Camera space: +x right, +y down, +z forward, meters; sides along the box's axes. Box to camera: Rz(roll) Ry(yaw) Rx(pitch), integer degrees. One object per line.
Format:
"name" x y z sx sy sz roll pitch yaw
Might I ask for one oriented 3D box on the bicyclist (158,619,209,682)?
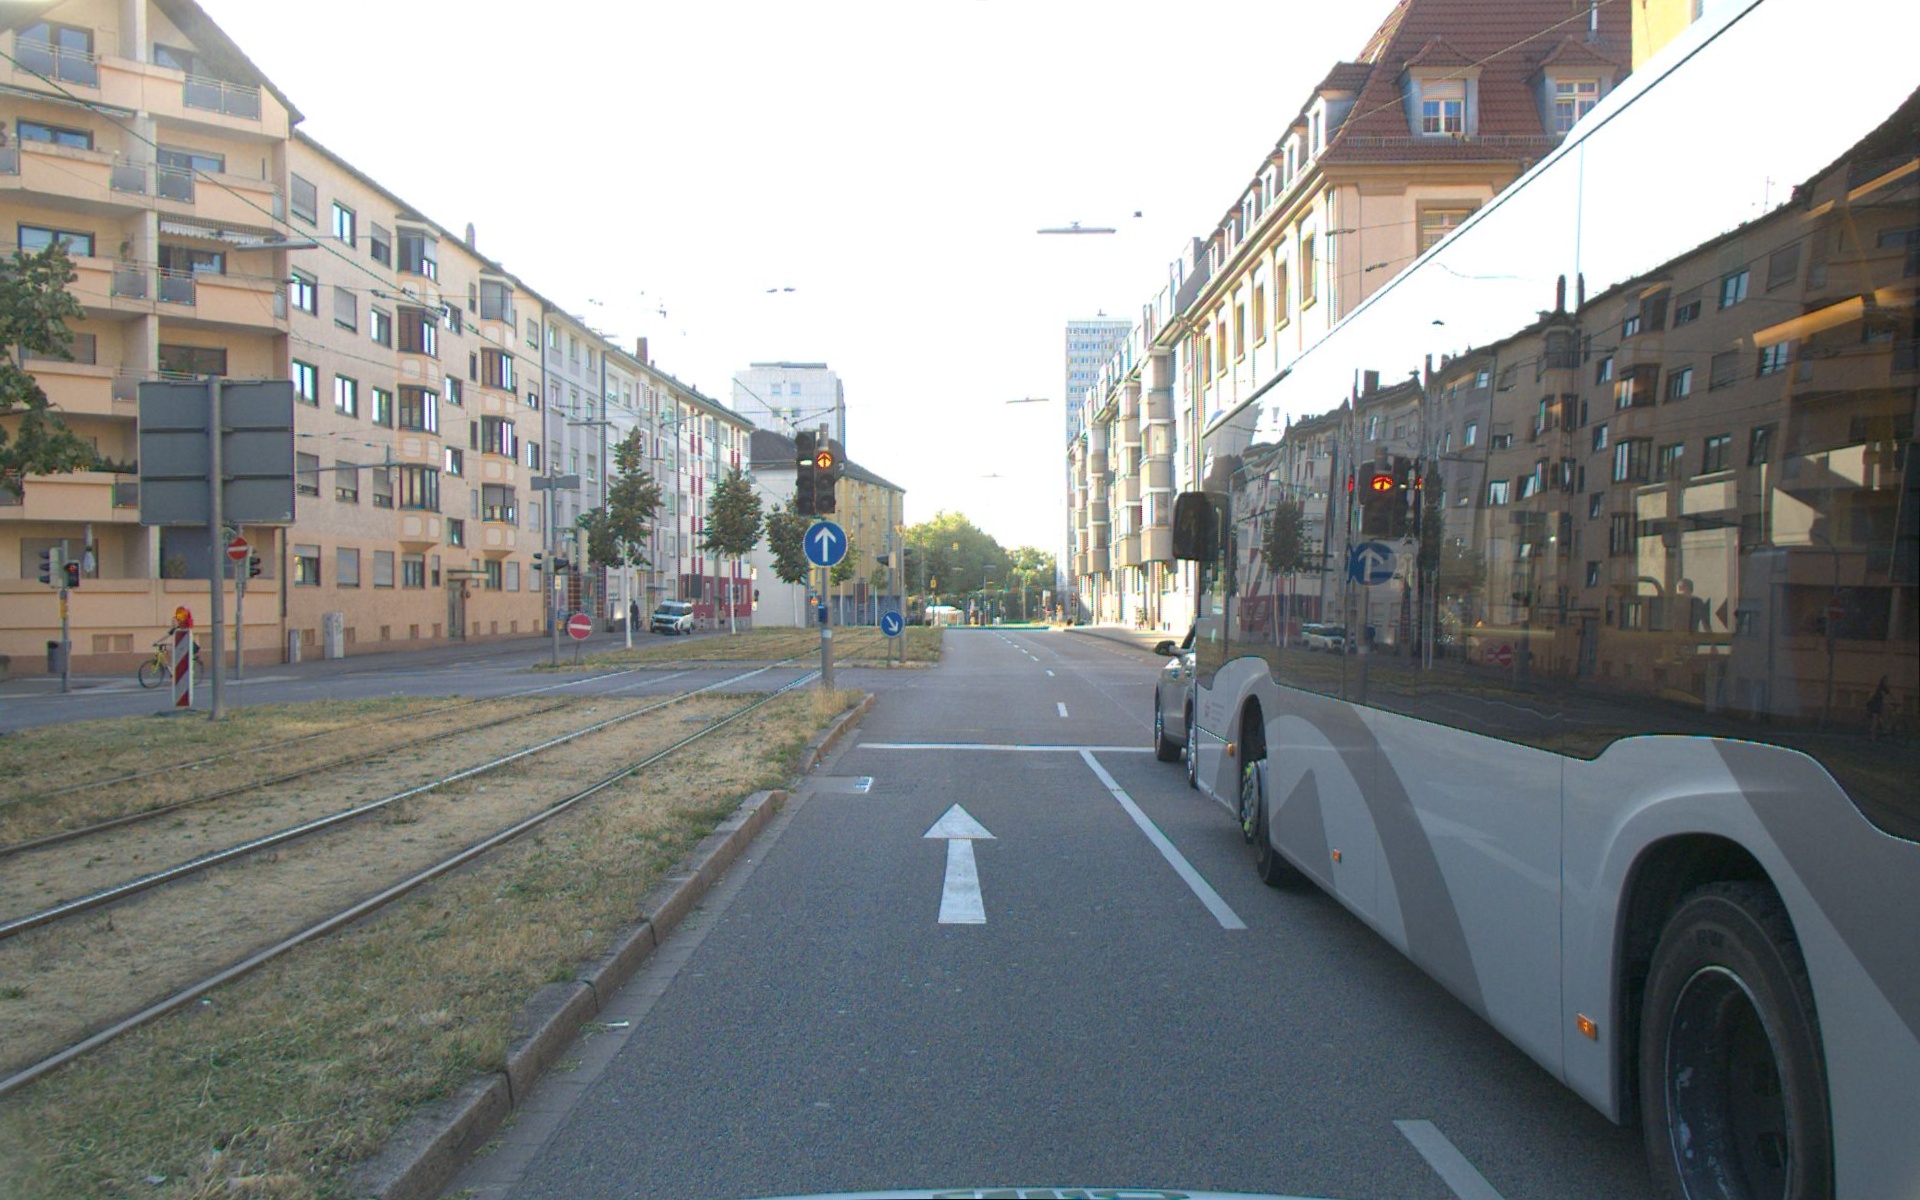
"bicyclist" -18.407 1.189 39.225 0.518 1.472 0.963 -1 0 30

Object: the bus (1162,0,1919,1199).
"bus" 2.852 0.000 7.619 2.682 3.109 9.130 1 0 0

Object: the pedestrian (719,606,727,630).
"pedestrian" -16.901 1.265 118.122 0.485 1.687 0.408 -1 0 0

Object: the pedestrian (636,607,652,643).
"pedestrian" -18.340 1.428 95.995 0.771 2.049 0.890 -1 0 -4

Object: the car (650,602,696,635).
"car" -16.590 1.095 95.819 1.774 1.829 4.245 1 -1 1

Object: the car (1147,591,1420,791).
"car" 2.874 0.748 15.567 1.734 1.603 4.085 -1 0 0

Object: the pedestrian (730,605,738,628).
"pedestrian" -16.189 1.177 118.289 0.485 1.687 0.408 -1 0 0

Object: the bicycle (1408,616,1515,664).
"bicycle" 10.233 0.812 33.778 1.942 0.909 0.784 -2 -1 -10

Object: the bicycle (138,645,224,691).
"bicycle" -18.438 1.597 39.168 0.518 1.001 1.879 -1 0 30
